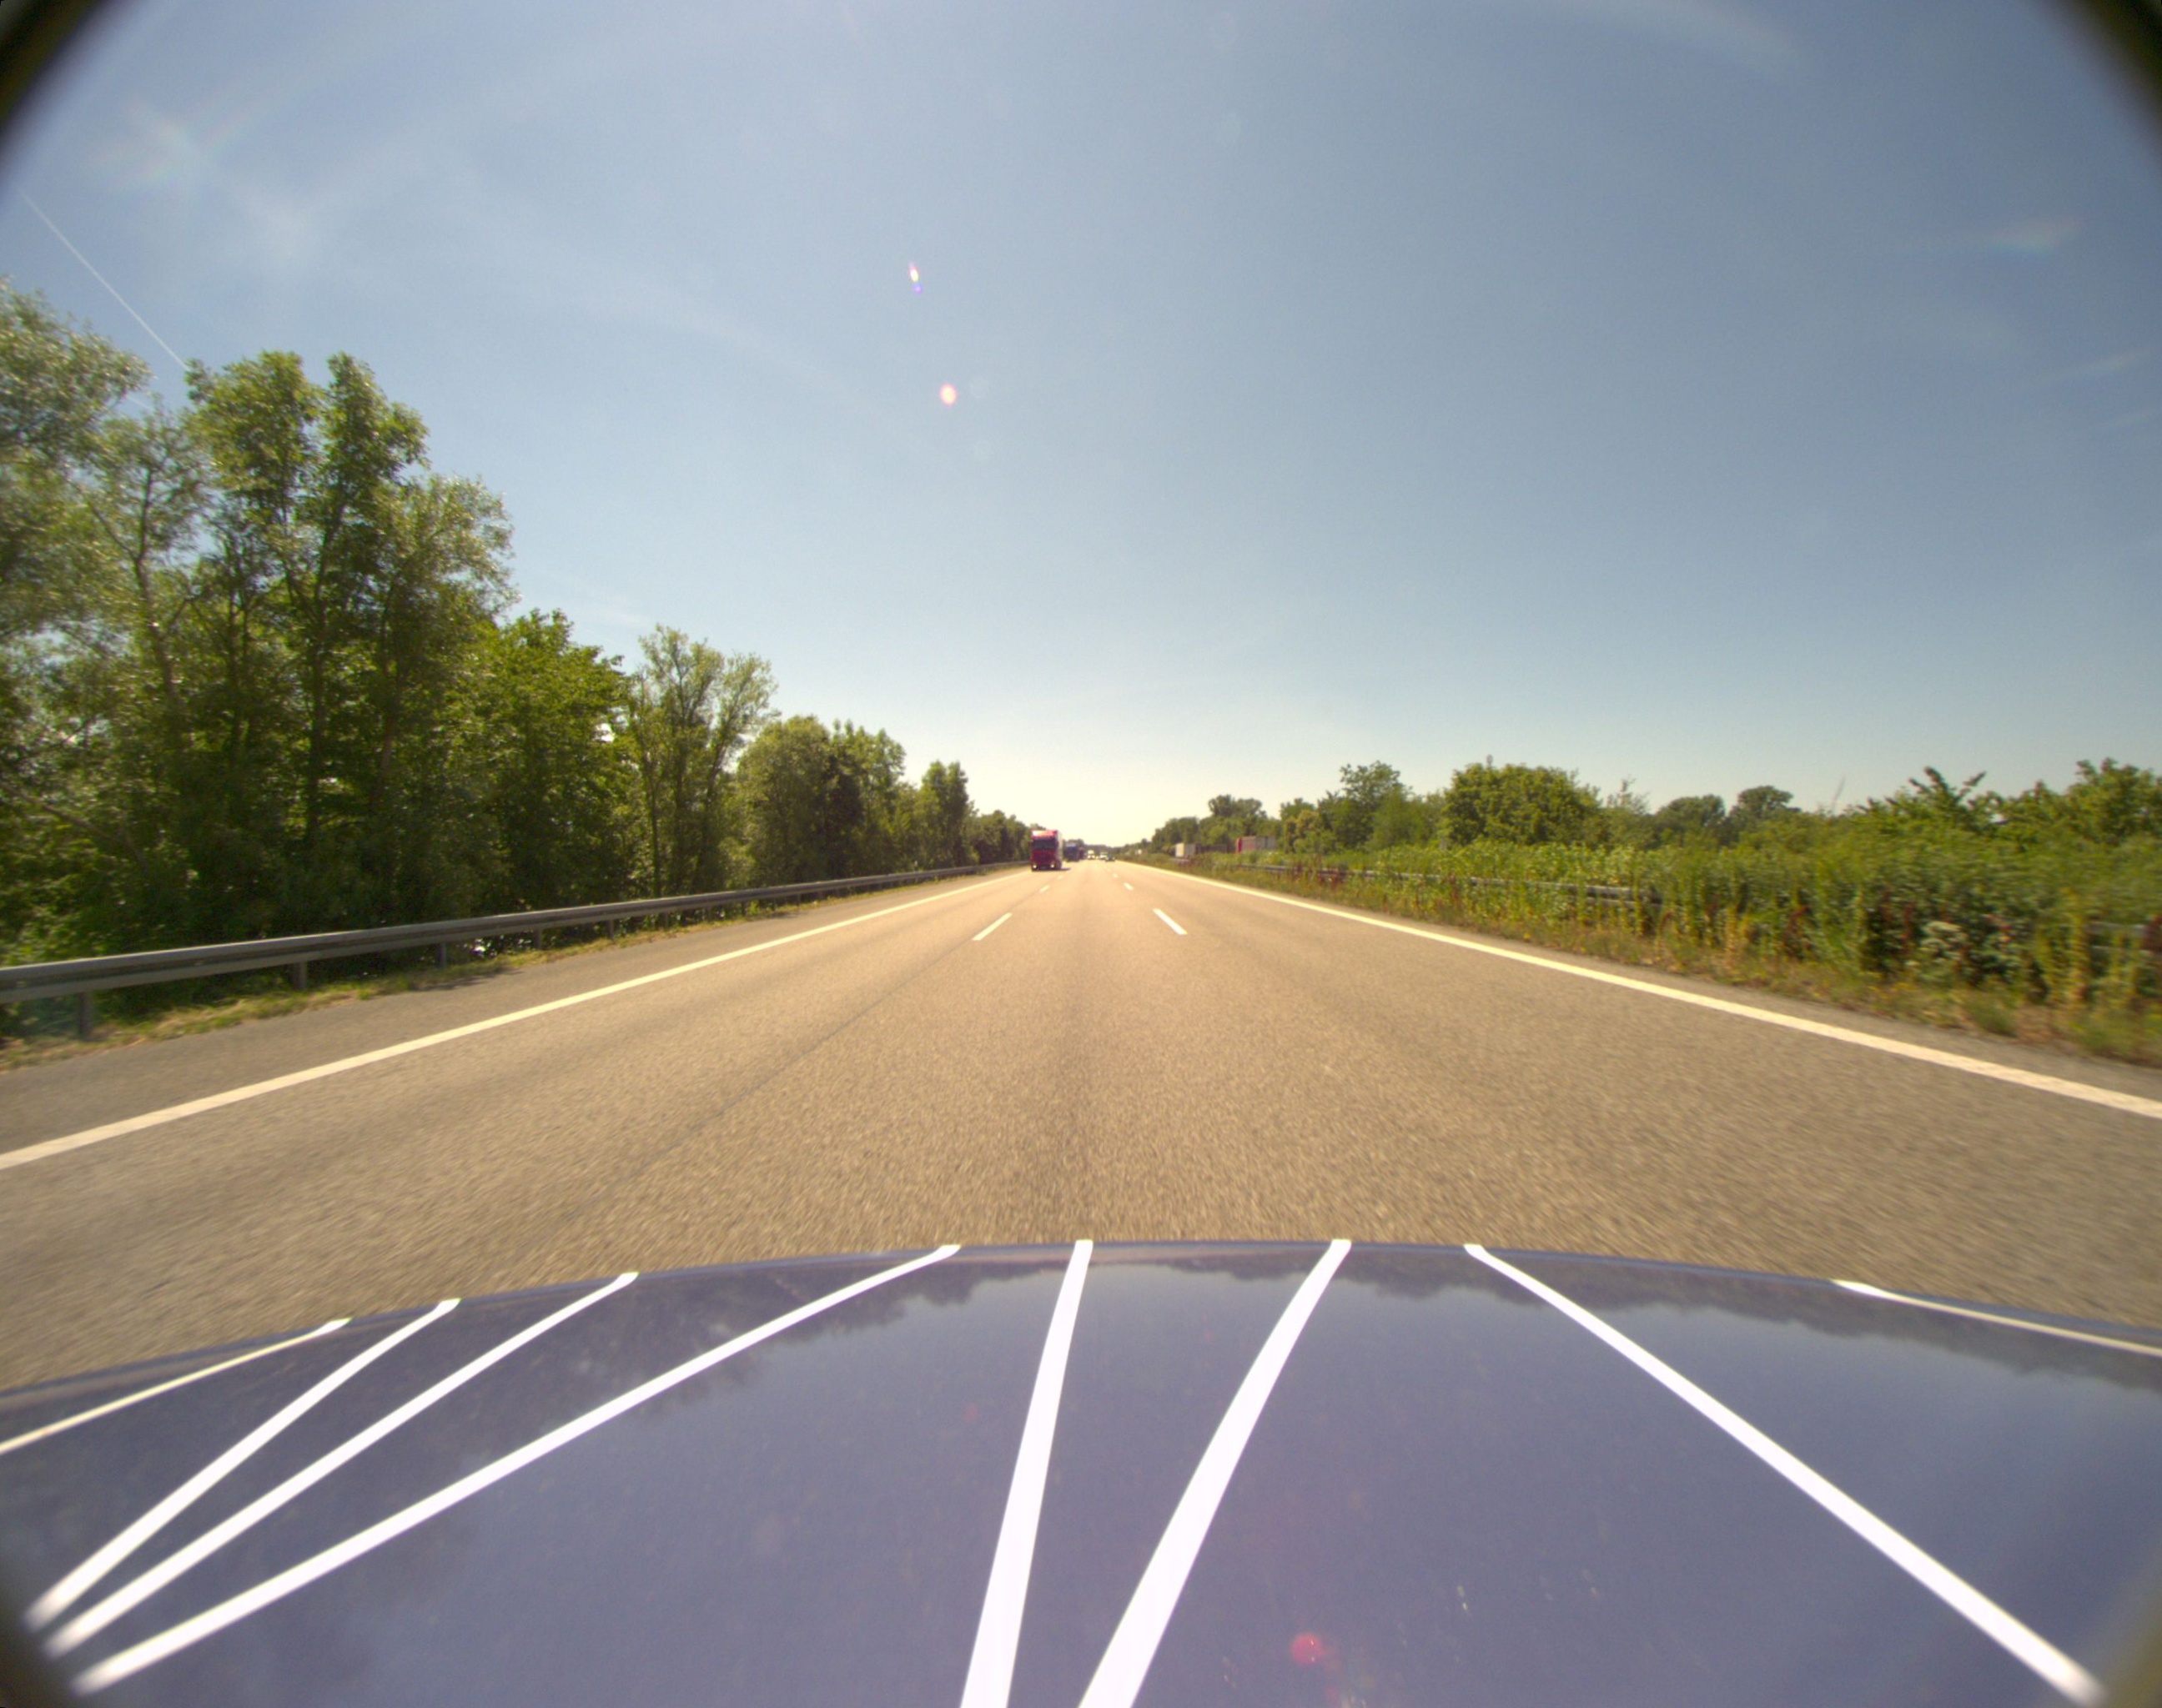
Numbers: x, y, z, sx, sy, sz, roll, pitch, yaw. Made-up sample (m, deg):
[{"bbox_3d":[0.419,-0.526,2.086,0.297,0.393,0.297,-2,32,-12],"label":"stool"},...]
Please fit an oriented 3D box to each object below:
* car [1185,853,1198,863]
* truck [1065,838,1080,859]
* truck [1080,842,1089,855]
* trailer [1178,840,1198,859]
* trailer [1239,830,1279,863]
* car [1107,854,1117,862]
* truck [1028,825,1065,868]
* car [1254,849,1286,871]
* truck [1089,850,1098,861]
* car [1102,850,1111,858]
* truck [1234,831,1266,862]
[{"bbox_3d":[19.563,0.659,134.864,1.818,1.712,4.000,-2,0,3],"label":"car"},{"bbox_3d":[-1.886,-1.195,169.033,2.938,4.429,10.259,-2,0,1],"label":"truck"},{"bbox_3d":[1.141,-1.870,253.291,2.938,3.934,10.259,-2,0,1],"label":"truck"},{"bbox_3d":[24.011,-1.010,170.614,2.939,3.952,12.321,-2,0,1],"label":"trailer"},{"bbox_3d":[22.981,-0.992,98.654,2.939,3.952,10.628,-2,0,2],"label":"trailer"},{"bbox_3d":[6.016,0.819,146.944,1.736,1.434,4.000,-2,0,1],"label":"car"},{"bbox_3d":[-3.393,-0.733,77.446,2.938,3.934,10.259,-2,0,1],"label":"truck"},{"bbox_3d":[18.171,0.520,73.077,1.999,2.002,3.999,-2,0,-1],"label":"car"},{"bbox_3d":[3.858,0.437,237.681,2.726,3.391,9.769,-2,0,1],"label":"truck"},{"bbox_3d":[6.396,0.012,188.460,1.998,2.002,4.755,-2,0,1],"label":"car"},{"bbox_3d":[23.115,-0.998,104.284,2.967,3.953,6.362,-2,1,1],"label":"truck"}]
